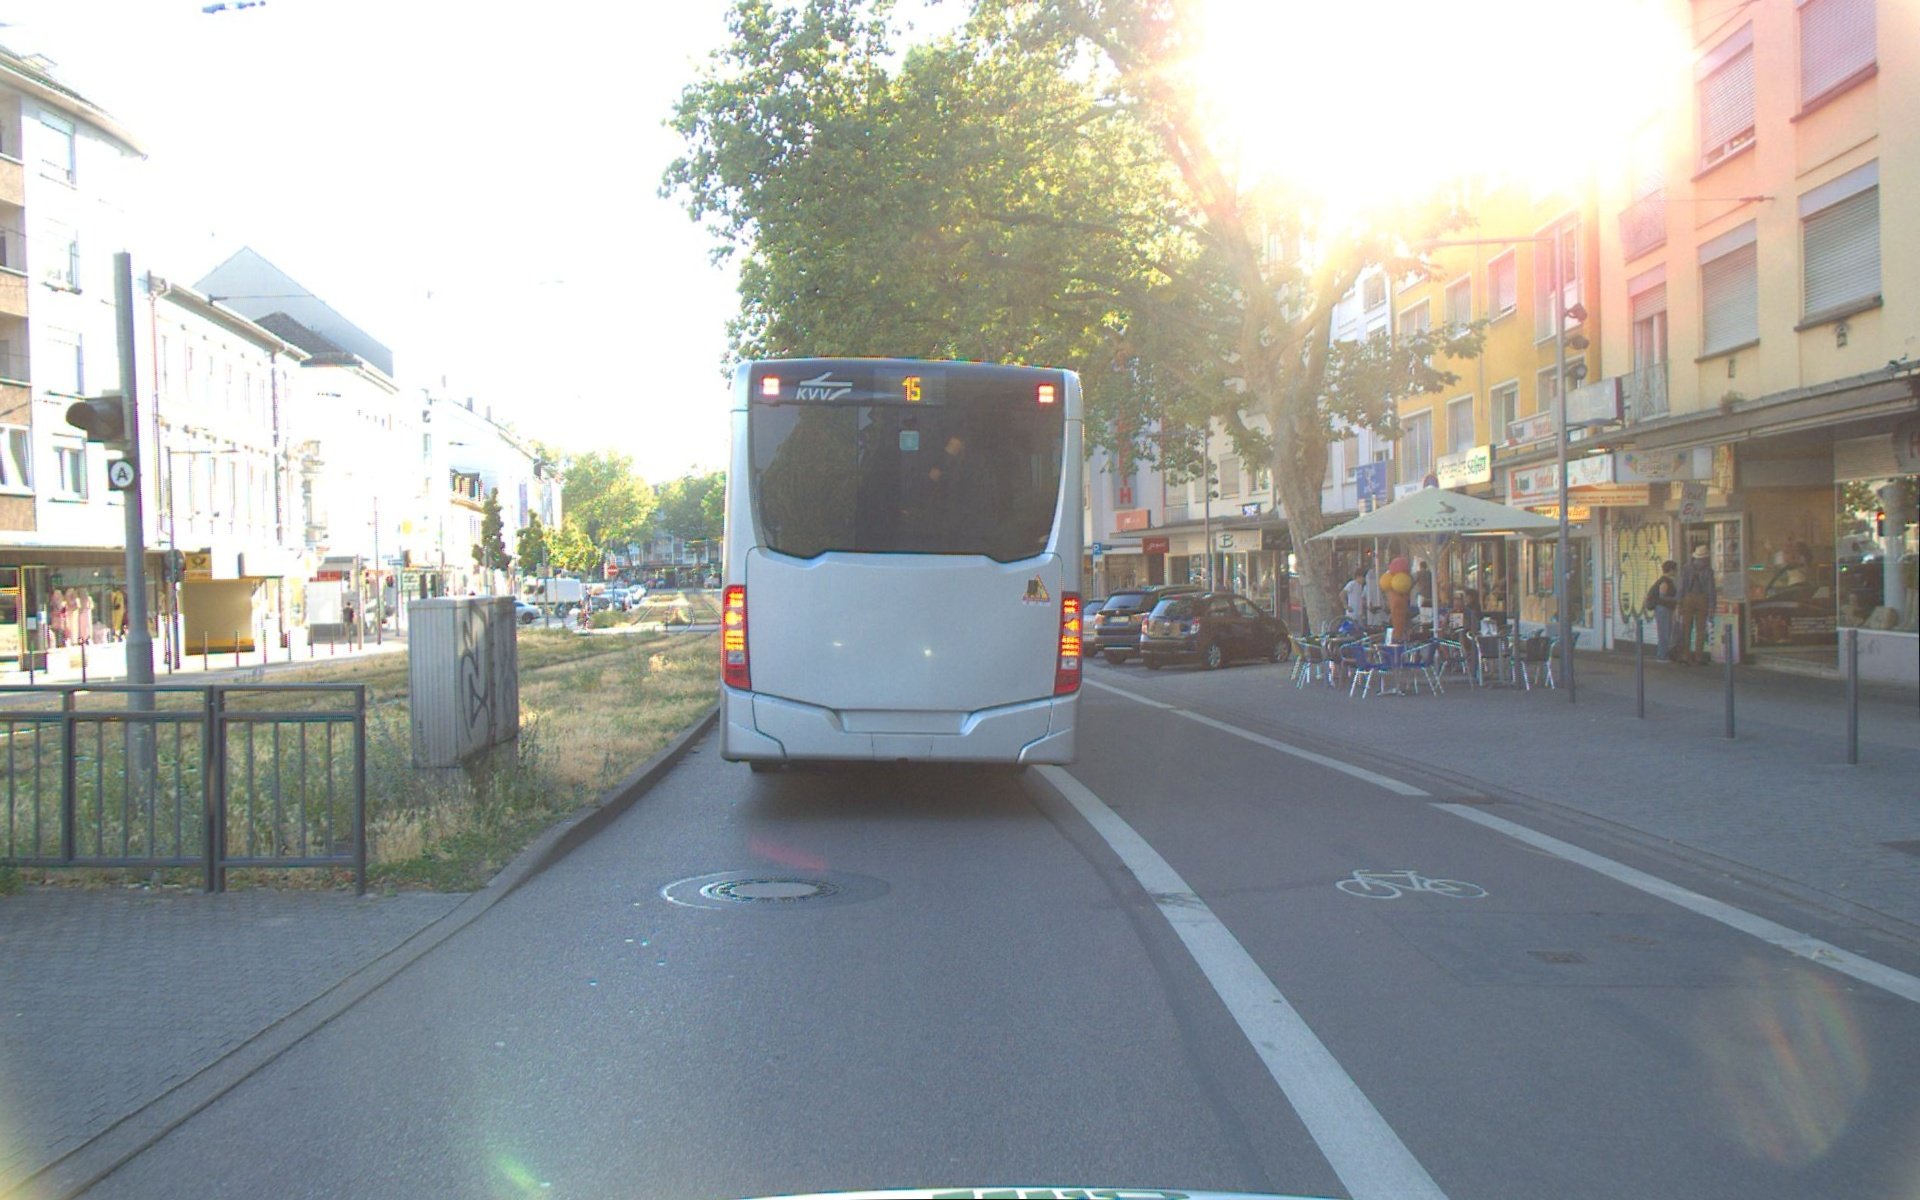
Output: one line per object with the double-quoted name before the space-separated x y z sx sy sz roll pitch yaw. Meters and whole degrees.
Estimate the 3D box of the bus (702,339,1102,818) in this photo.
"bus" -0.484 -0.176 14.429 2.624 3.137 7.111 0 0 -2

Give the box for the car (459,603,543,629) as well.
"car" -27.898 0.946 100.640 4.512 1.437 1.970 -2 0 -41

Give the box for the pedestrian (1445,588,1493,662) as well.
"pedestrian" 9.084 0.433 29.526 0.571 1.297 0.758 1 0 -4

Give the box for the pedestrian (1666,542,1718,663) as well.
"pedestrian" 11.337 0.036 25.597 0.624 1.835 0.625 -1 0 31

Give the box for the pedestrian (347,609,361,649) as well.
"pedestrian" -26.519 1.261 72.395 0.417 1.743 0.508 -1 0 -1

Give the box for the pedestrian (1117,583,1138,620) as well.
"pedestrian" 7.958 0.060 78.599 0.734 1.708 0.833 -1 2 -11

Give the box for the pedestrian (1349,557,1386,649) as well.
"pedestrian" 8.367 0.058 33.978 0.509 1.864 0.471 -1 0 -26

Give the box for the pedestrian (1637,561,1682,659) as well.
"pedestrian" 11.462 0.162 27.111 0.612 1.573 0.637 -1 0 26

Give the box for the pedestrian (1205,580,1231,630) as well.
"pedestrian" 9.480 0.179 60.880 0.765 1.825 0.763 -1 0 -4

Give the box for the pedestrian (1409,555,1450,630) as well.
"pedestrian" 11.796 -0.186 41.533 0.692 1.822 0.788 -4 0 1

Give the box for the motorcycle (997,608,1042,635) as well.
"motorcycle" 2.111 0.771 58.750 1.540 0.908 0.543 -2 0 -8

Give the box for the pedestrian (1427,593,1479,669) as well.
"pedestrian" 8.300 0.510 27.848 0.594 1.246 0.744 -1 0 -4

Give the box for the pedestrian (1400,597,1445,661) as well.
"pedestrian" 8.451 0.523 30.217 0.571 1.135 0.750 1 0 -4

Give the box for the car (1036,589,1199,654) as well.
"car" 3.990 0.514 41.586 4.143 1.477 1.781 -2 0 -43

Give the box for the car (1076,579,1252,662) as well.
"car" 4.617 0.432 37.093 1.779 1.710 4.122 -1 0 45

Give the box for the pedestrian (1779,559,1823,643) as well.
"pedestrian" 13.531 0.017 26.623 0.417 1.319 0.508 -1 0 -1

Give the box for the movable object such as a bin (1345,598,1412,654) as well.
"movable object such as a bin" 7.909 0.480 31.306 0.915 1.041 0.833 1 0 -26

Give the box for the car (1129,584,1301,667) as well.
"car" 5.260 0.500 33.921 1.713 1.567 3.583 -1 0 45

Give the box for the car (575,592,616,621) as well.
"car" -20.754 0.361 94.258 1.688 1.535 3.474 -4 0 -3
